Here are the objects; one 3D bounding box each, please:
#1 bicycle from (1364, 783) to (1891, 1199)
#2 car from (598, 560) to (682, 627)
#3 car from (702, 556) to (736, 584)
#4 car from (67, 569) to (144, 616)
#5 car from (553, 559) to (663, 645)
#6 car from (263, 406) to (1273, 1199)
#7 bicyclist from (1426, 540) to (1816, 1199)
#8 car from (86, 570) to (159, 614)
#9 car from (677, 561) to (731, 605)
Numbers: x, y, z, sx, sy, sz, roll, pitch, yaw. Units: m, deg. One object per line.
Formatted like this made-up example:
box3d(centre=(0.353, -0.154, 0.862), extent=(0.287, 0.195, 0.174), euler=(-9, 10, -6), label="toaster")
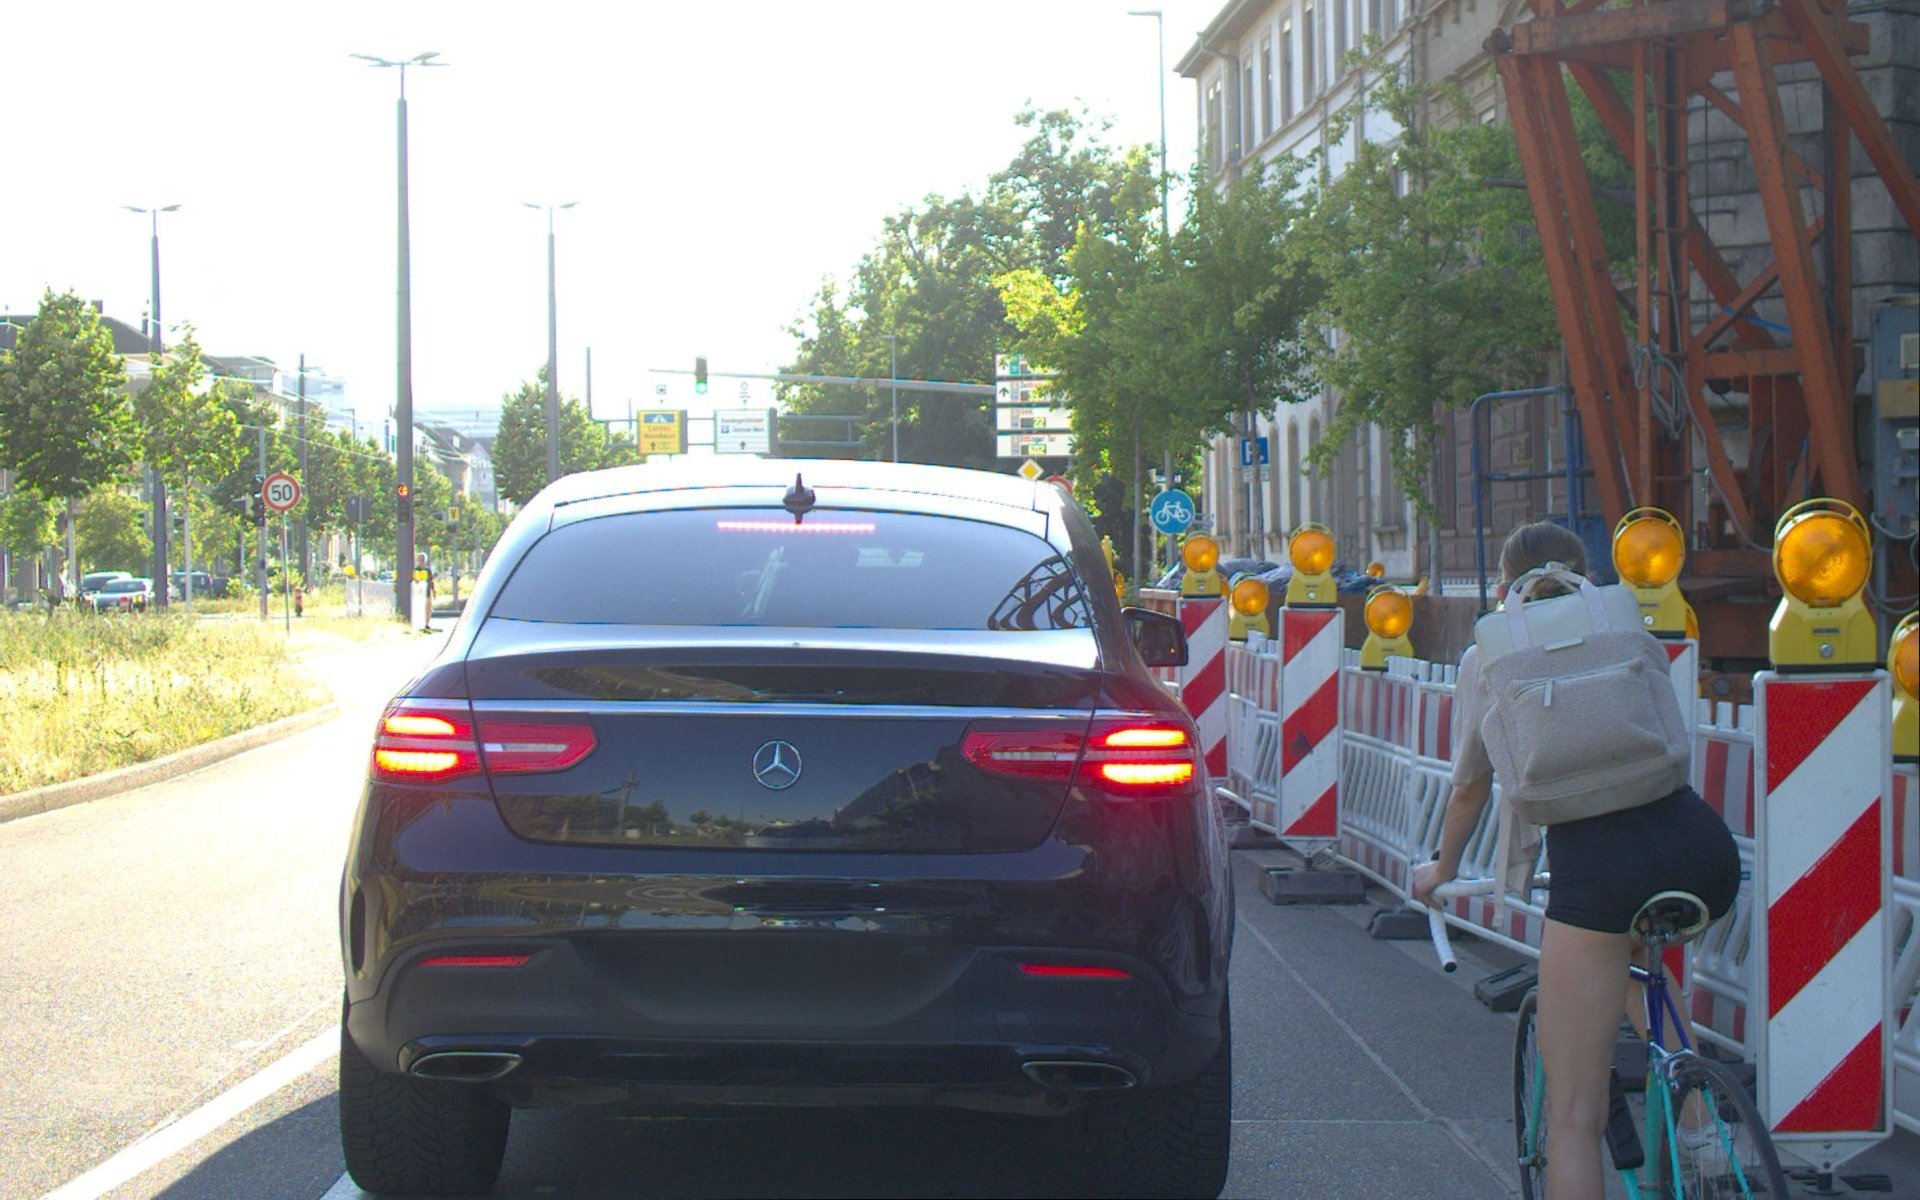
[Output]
box3d(centre=(1.141, 0.913, 6.213), extent=(0.512, 1.048, 1.725), euler=(1, 1, -3), label="bicycle")
box3d(centre=(-7.125, -0.167, 76.799), extent=(1.708, 1.437, 3.583), euler=(1, 1, -3), label="car")
box3d(centre=(-12.873, -1.619, 183.962), extent=(1.708, 1.437, 3.583), euler=(1, 1, -3), label="car")
box3d(centre=(-31.664, -0.291, 127.526), extent=(1.790, 1.678, 3.638), euler=(1, 1, 2), label="car")
box3d(centre=(-6.164, 0.013, 60.434), extent=(1.708, 1.437, 3.583), euler=(1, 1, -3), label="car")
box3d(centre=(-0.407, 0.488, 8.863), extent=(1.993, 1.766, 4.000), euler=(1, 1, -1), label="car")
box3d(centre=(1.147, 0.595, 6.061), extent=(0.522, 1.391, 0.615), euler=(1, 0, -3), label="bicyclist")
box3d(centre=(-27.942, -0.277, 114.810), extent=(1.708, 1.437, 3.583), euler=(1, 1, -3), label="car")
box3d(centre=(-8.630, -0.586, 116.044), extent=(1.708, 1.437, 3.583), euler=(1, 1, -3), label="car")
